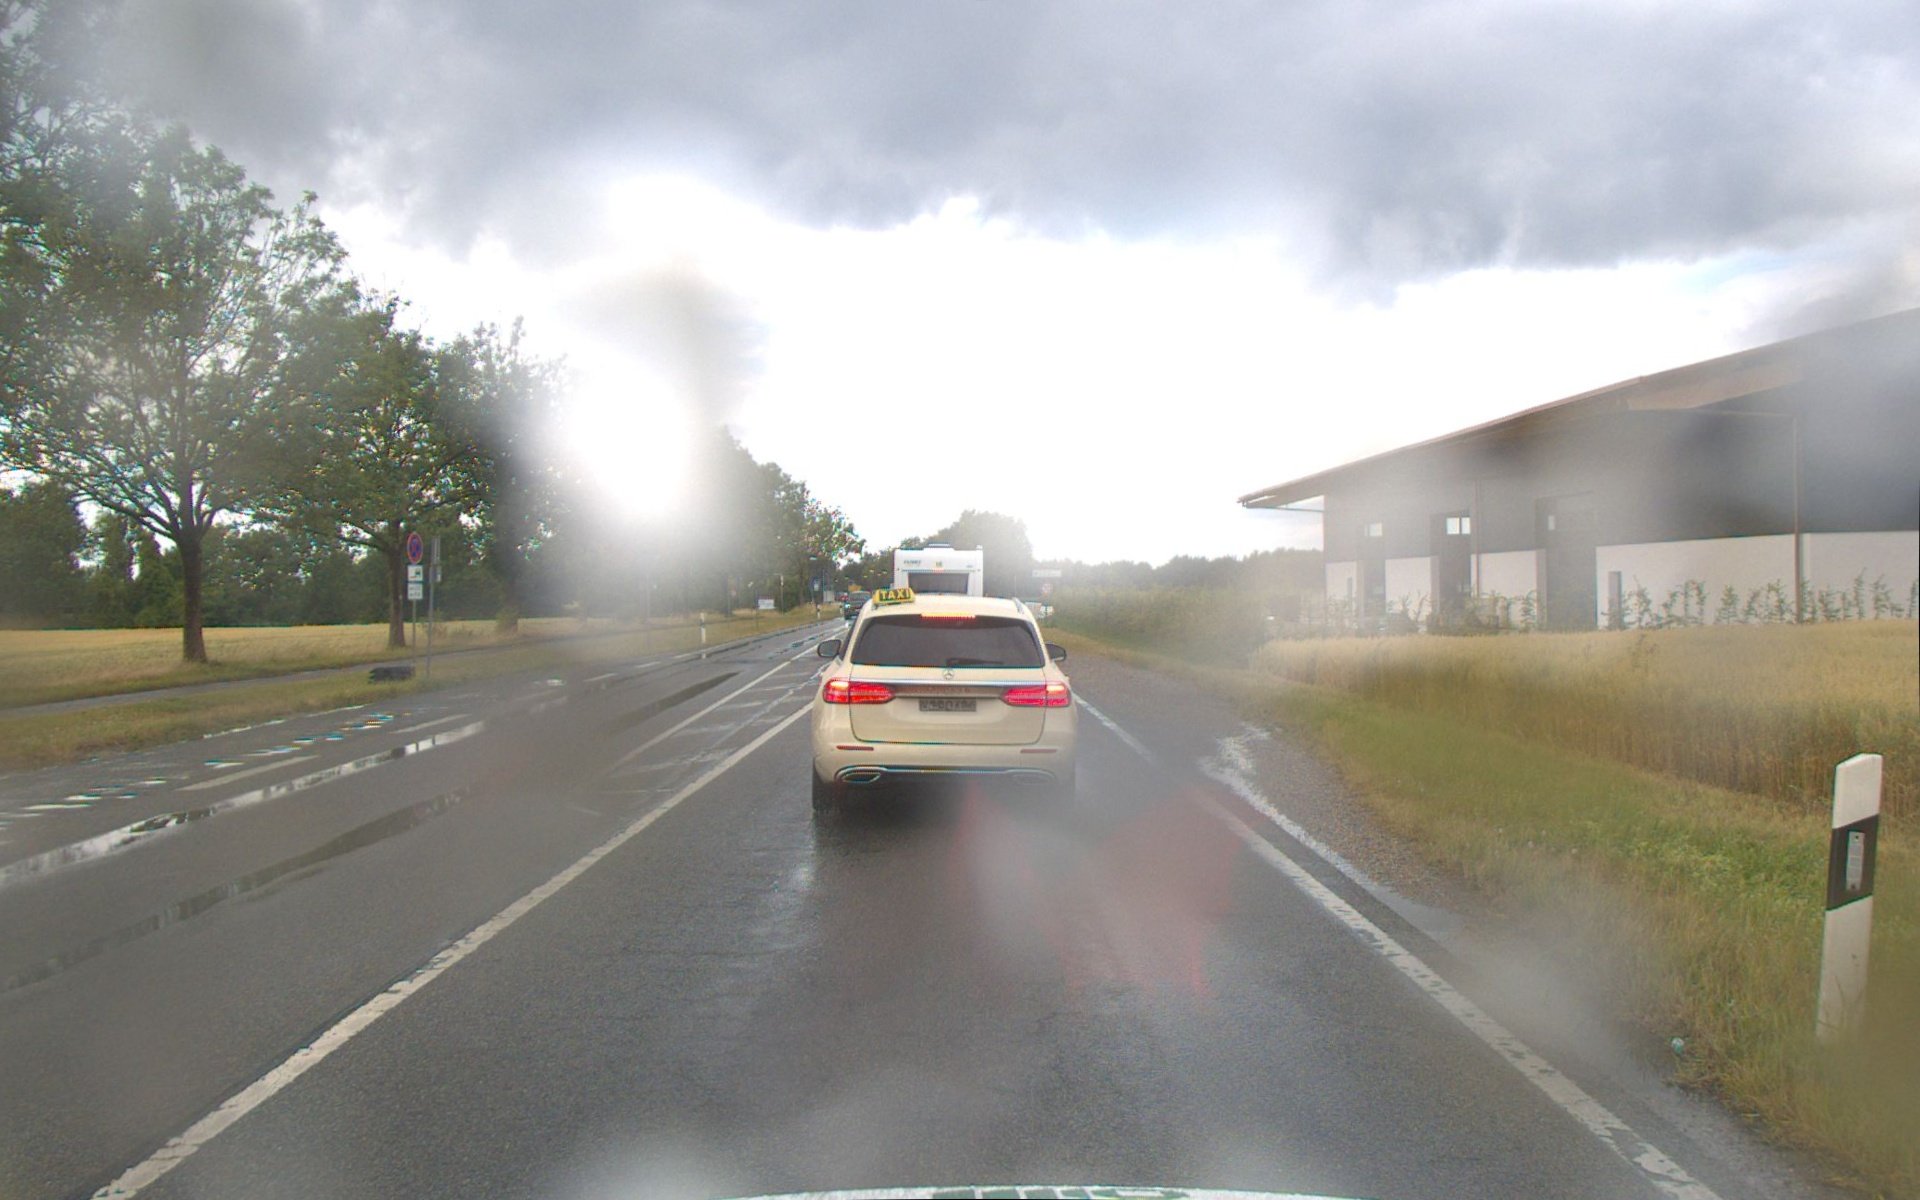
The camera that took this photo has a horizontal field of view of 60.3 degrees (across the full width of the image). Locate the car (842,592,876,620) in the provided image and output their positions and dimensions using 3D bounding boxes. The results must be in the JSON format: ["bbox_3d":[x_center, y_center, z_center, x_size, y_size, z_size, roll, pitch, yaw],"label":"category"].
[{"bbox_3d":[-6.343,0.384,104.306,1.877,1.660,4.356,-2,0,-1],"label":"car"}]

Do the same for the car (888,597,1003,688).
[{"bbox_3d":[-0.283,0.683,28.809,1.856,1.454,3.926,0,0,-2],"label":"car"}]

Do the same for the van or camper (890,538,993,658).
[{"bbox_3d":[-0.450,-0.064,43.670,2.446,2.880,5.933,-2,0,0],"label":"van or camper"}]

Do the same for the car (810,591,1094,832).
[{"bbox_3d":[-0.066,0.680,12.264,1.760,1.490,4.030,0,0,-1],"label":"car"}]
